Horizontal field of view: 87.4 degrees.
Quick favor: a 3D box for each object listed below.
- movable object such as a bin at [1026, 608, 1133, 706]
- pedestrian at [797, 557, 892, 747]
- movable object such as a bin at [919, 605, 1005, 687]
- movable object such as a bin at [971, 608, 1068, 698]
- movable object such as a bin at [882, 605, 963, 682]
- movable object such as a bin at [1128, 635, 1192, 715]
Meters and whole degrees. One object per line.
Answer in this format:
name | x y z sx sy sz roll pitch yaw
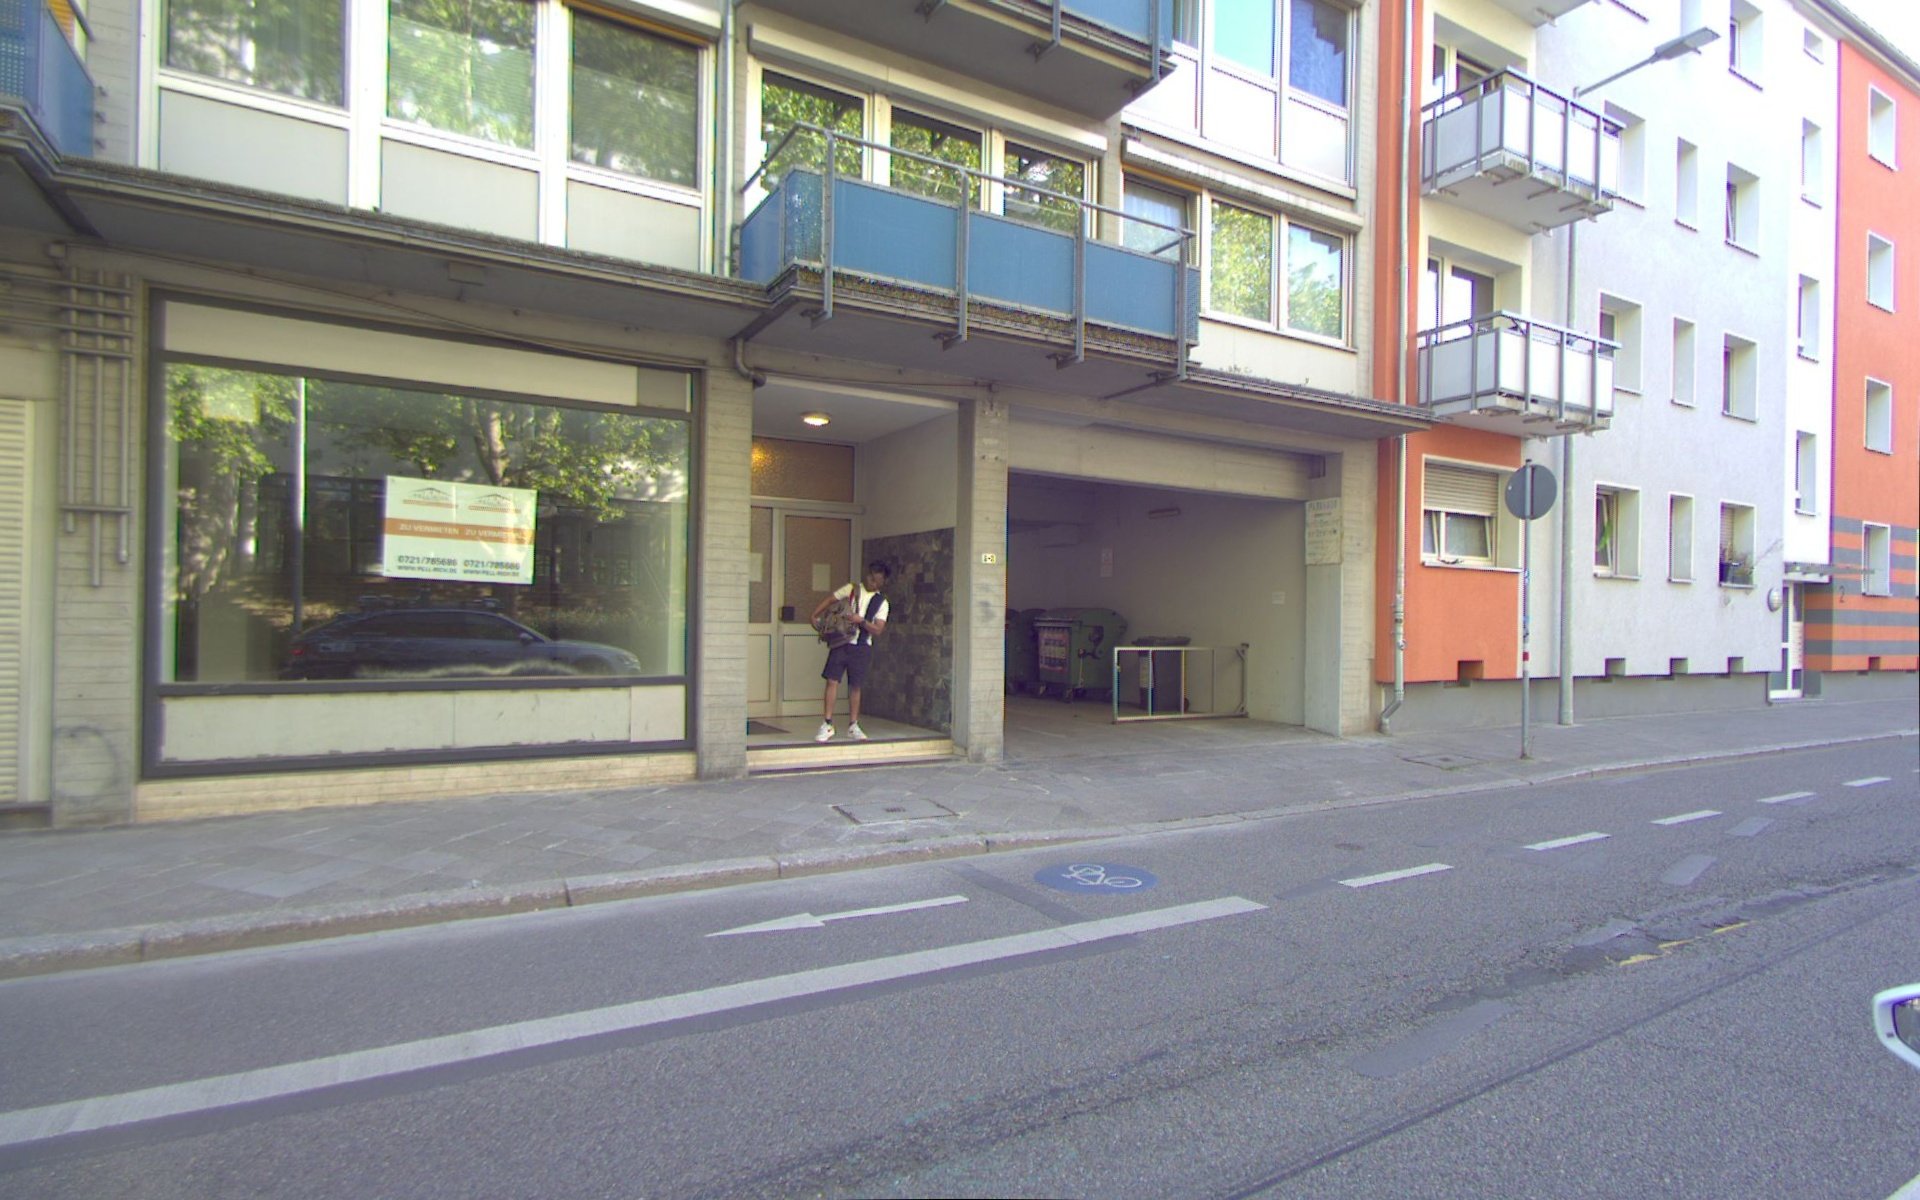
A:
movable object such as a bin | 1.872 0.874 15.818 1.120 1.444 1.268 2 0 -28
pedestrian | -1.044 0.461 9.224 0.778 1.639 0.836 2 0 -5
movable object such as a bin | 0.028 0.832 18.704 1.120 1.444 1.268 2 0 -28
movable object such as a bin | 1.004 0.885 17.159 1.120 1.444 1.268 2 0 -28
movable object such as a bin | -0.745 0.835 19.794 1.120 1.444 1.268 2 0 -28
movable object such as a bin | 2.884 1.074 14.494 0.713 1.094 0.533 2 0 -29
